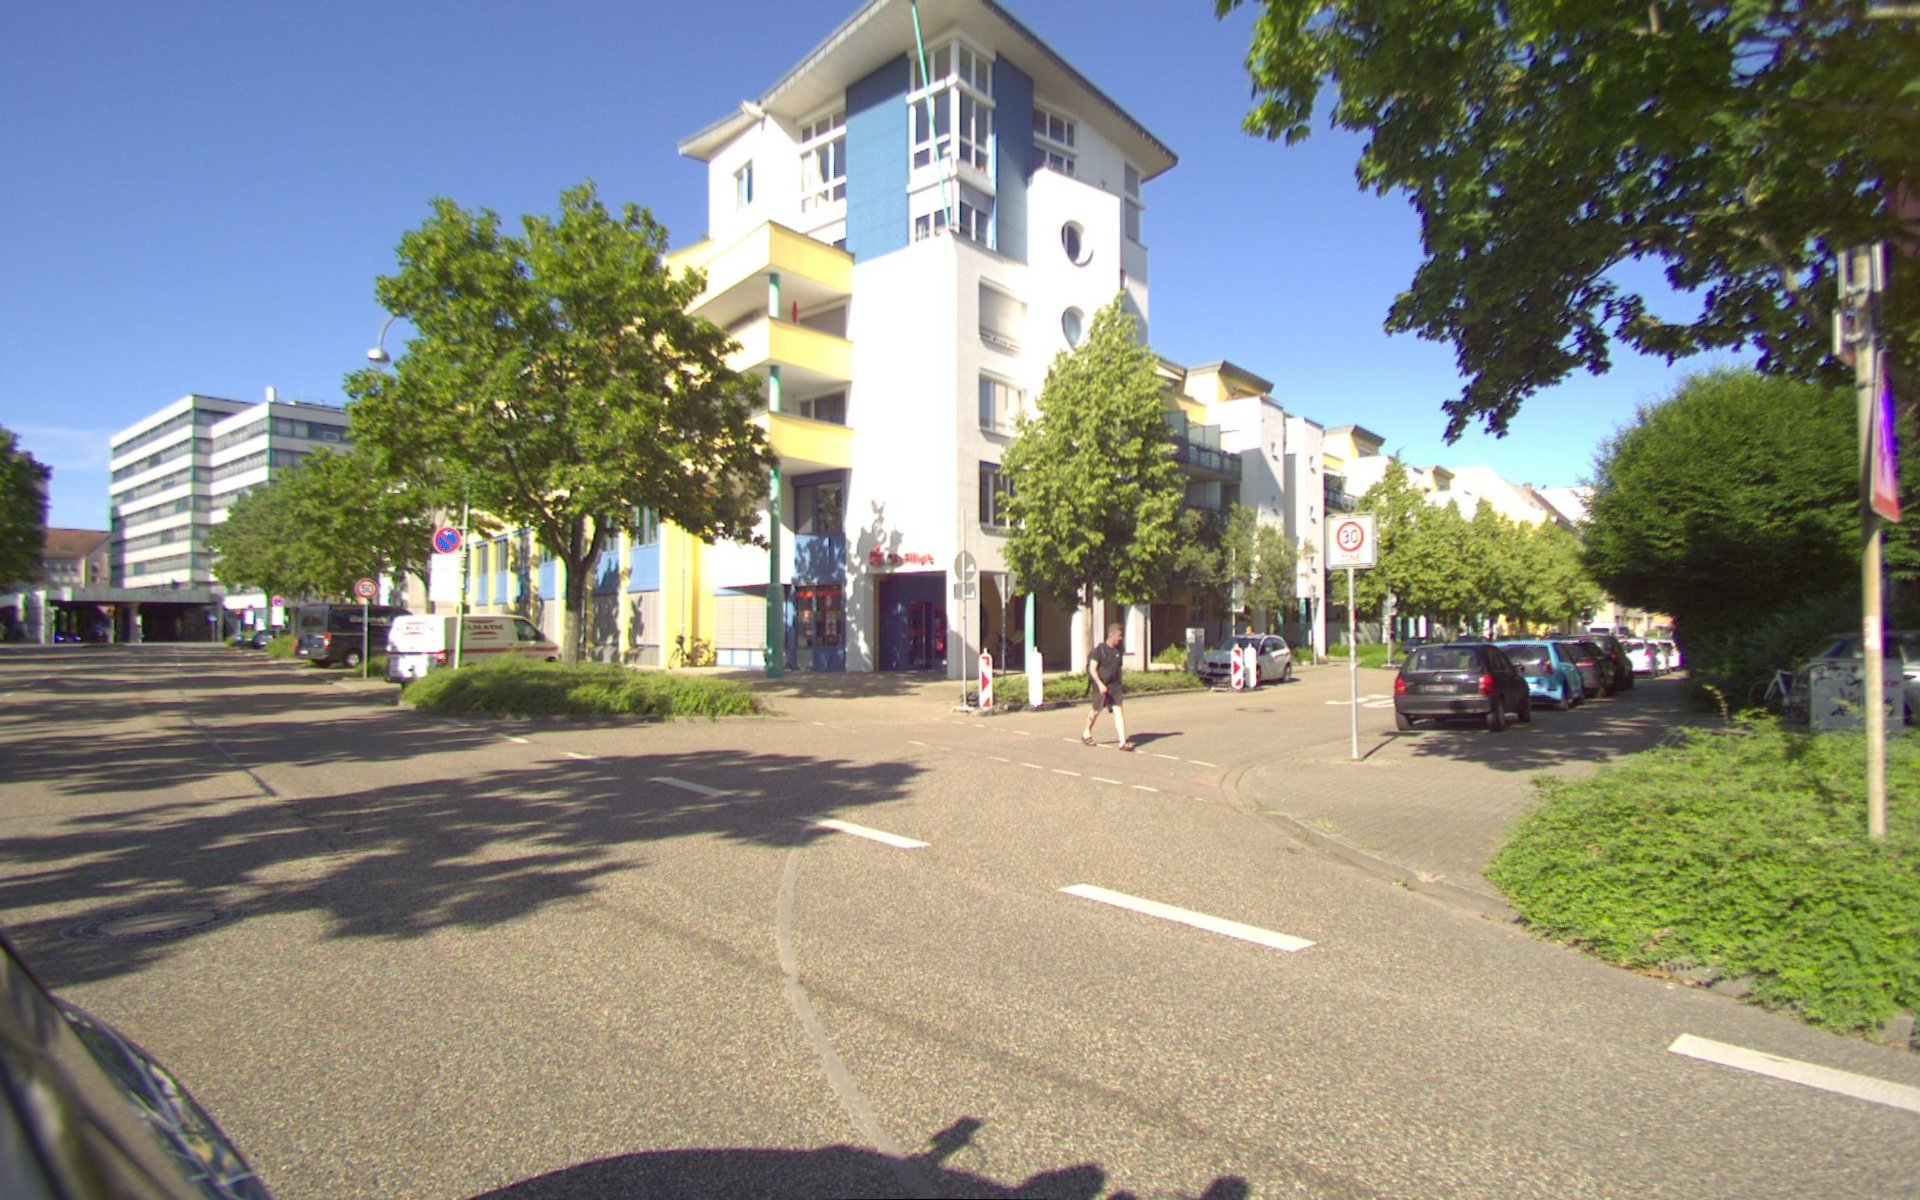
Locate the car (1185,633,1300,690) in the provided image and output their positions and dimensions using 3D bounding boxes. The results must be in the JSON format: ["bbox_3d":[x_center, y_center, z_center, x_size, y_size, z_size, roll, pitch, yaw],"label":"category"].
[{"bbox_3d":[9.032,1.902,32.133,1.998,1.606,4.193,-3,-2,39],"label":"car"}]

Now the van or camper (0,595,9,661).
[{"bbox_3d":[-46.318,1.103,44.723,5.906,3.007,2.675,5,-5,-40],"label":"van or camper"}]

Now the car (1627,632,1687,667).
[{"bbox_3d":[32.362,2.302,46.955,1.934,1.516,3.868,-5,-5,39],"label":"car"}]

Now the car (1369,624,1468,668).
[{"bbox_3d":[22.058,2.188,48.754,3.993,2.029,1.975,-2,-3,37],"label":"car"}]

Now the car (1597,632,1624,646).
[{"bbox_3d":[64.484,3.850,100.299,1.908,1.379,3.950,-1,-3,37],"label":"car"}]

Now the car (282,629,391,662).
[{"bbox_3d":[-30.245,2.180,49.210,1.762,1.487,4.193,-2,-2,29],"label":"car"}]

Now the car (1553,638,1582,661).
[{"bbox_3d":[50.998,4.112,84.950,1.841,1.819,3.953,-2,-2,35],"label":"car"}]

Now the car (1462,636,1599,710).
[{"bbox_3d":[12.565,1.560,22.185,1.934,1.461,3.955,-5,-5,39],"label":"car"}]

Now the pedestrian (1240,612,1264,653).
[{"bbox_3d":[10.794,1.198,37.388,0.679,1.500,0.838,-1,-2,31],"label":"pedestrian"}]

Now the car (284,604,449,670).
[{"bbox_3d":[-23.627,1.444,40.567,2.173,2.455,5.459,-2,-1,24],"label":"car"}]

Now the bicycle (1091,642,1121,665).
[{"bbox_3d":[5.589,2.034,38.671,0.287,0.878,1.781,-1,-3,38],"label":"bicycle"}]

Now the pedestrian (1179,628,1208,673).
[{"bbox_3d":[8.188,1.758,35.429,0.718,1.525,0.789,-1,-1,37],"label":"pedestrian"}]

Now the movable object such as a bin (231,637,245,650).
[{"bbox_3d":[-59.230,3.597,83.080,0.665,1.082,0.804,1,-2,-14],"label":"movable object such as a bin"}]

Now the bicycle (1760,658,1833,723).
[{"bbox_3d":[13.965,1.481,16.932,0.448,0.994,1.661,-1,-2,23],"label":"bicycle"}]

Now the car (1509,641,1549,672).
[{"bbox_3d":[36.059,3.534,64.079,1.841,1.819,3.953,-2,-2,35],"label":"car"}]

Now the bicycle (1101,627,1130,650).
[{"bbox_3d":[5.924,1.463,38.450,0.287,0.878,1.781,-1,-3,38],"label":"bicycle"}]

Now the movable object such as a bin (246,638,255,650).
[{"bbox_3d":[-58.347,3.581,83.239,0.469,0.967,0.543,-1,-1,-13],"label":"movable object such as a bin"}]

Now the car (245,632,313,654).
[{"bbox_3d":[-50.421,3.195,75.002,1.796,1.475,3.977,-1,-1,18],"label":"car"}]

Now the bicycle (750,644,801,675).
[{"bbox_3d":[-5.747,1.843,31.554,0.490,0.878,1.784,-1,-1,32],"label":"bicycle"}]

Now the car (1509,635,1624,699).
[{"bbox_3d":[15.646,1.699,26.032,1.934,1.516,3.955,-5,-5,39],"label":"car"}]

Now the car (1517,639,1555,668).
[{"bbox_3d":[38.781,3.552,68.074,1.841,1.819,3.953,-2,-1,35],"label":"car"}]

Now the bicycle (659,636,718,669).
[{"bbox_3d":[-9.273,1.805,34.608,1.775,1.106,0.703,3,-4,-38],"label":"bicycle"}]

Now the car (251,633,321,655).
[{"bbox_3d":[-48.419,3.141,72.811,1.796,1.475,3.977,-1,-1,18],"label":"car"}]

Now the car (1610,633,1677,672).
[{"bbox_3d":[28.675,2.180,42.407,1.934,1.516,3.955,-5,-5,39],"label":"car"}]

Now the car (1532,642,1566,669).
[{"bbox_3d":[44.108,4.139,75.757,1.841,1.819,3.953,-2,-1,35],"label":"car"}]

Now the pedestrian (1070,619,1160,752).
[{"bbox_3d":[2.115,1.137,13.859,1.022,1.739,0.649,-2,-4,43],"label":"pedestrian"}]

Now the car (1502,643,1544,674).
[{"bbox_3d":[33.685,3.464,60.518,1.841,1.819,3.953,-2,-3,35],"label":"car"}]

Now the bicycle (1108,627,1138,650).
[{"bbox_3d":[6.163,1.457,38.257,0.287,0.878,1.781,-1,-3,38],"label":"bicycle"}]

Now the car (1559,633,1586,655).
[{"bbox_3d":[55.846,3.957,92.209,1.841,1.819,3.953,-2,0,35],"label":"car"}]

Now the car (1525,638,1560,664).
[{"bbox_3d":[41.455,3.594,71.969,1.841,1.819,3.953,-2,-2,35],"label":"car"}]

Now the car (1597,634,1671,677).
[{"bbox_3d":[25.681,2.100,38.528,1.934,1.516,3.955,-5,-5,39],"label":"car"}]

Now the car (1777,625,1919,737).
[{"bbox_3d":[13.719,1.071,13.456,4.113,1.454,1.722,-2,-3,28],"label":"car"}]

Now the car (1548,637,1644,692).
[{"bbox_3d":[19.134,1.903,30.395,1.934,1.516,3.955,-5,-5,39],"label":"car"}]

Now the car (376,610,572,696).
[{"bbox_3d":[-12.444,1.319,26.305,1.982,2.000,4.746,-2,-2,16],"label":"car"}]

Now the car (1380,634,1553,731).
[{"bbox_3d":[8.735,1.355,17.294,1.801,1.458,3.943,-5,-5,39],"label":"car"}]

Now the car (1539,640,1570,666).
[{"bbox_3d":[46.693,4.130,79.443,1.841,1.819,3.953,-2,-1,35],"label":"car"}]
